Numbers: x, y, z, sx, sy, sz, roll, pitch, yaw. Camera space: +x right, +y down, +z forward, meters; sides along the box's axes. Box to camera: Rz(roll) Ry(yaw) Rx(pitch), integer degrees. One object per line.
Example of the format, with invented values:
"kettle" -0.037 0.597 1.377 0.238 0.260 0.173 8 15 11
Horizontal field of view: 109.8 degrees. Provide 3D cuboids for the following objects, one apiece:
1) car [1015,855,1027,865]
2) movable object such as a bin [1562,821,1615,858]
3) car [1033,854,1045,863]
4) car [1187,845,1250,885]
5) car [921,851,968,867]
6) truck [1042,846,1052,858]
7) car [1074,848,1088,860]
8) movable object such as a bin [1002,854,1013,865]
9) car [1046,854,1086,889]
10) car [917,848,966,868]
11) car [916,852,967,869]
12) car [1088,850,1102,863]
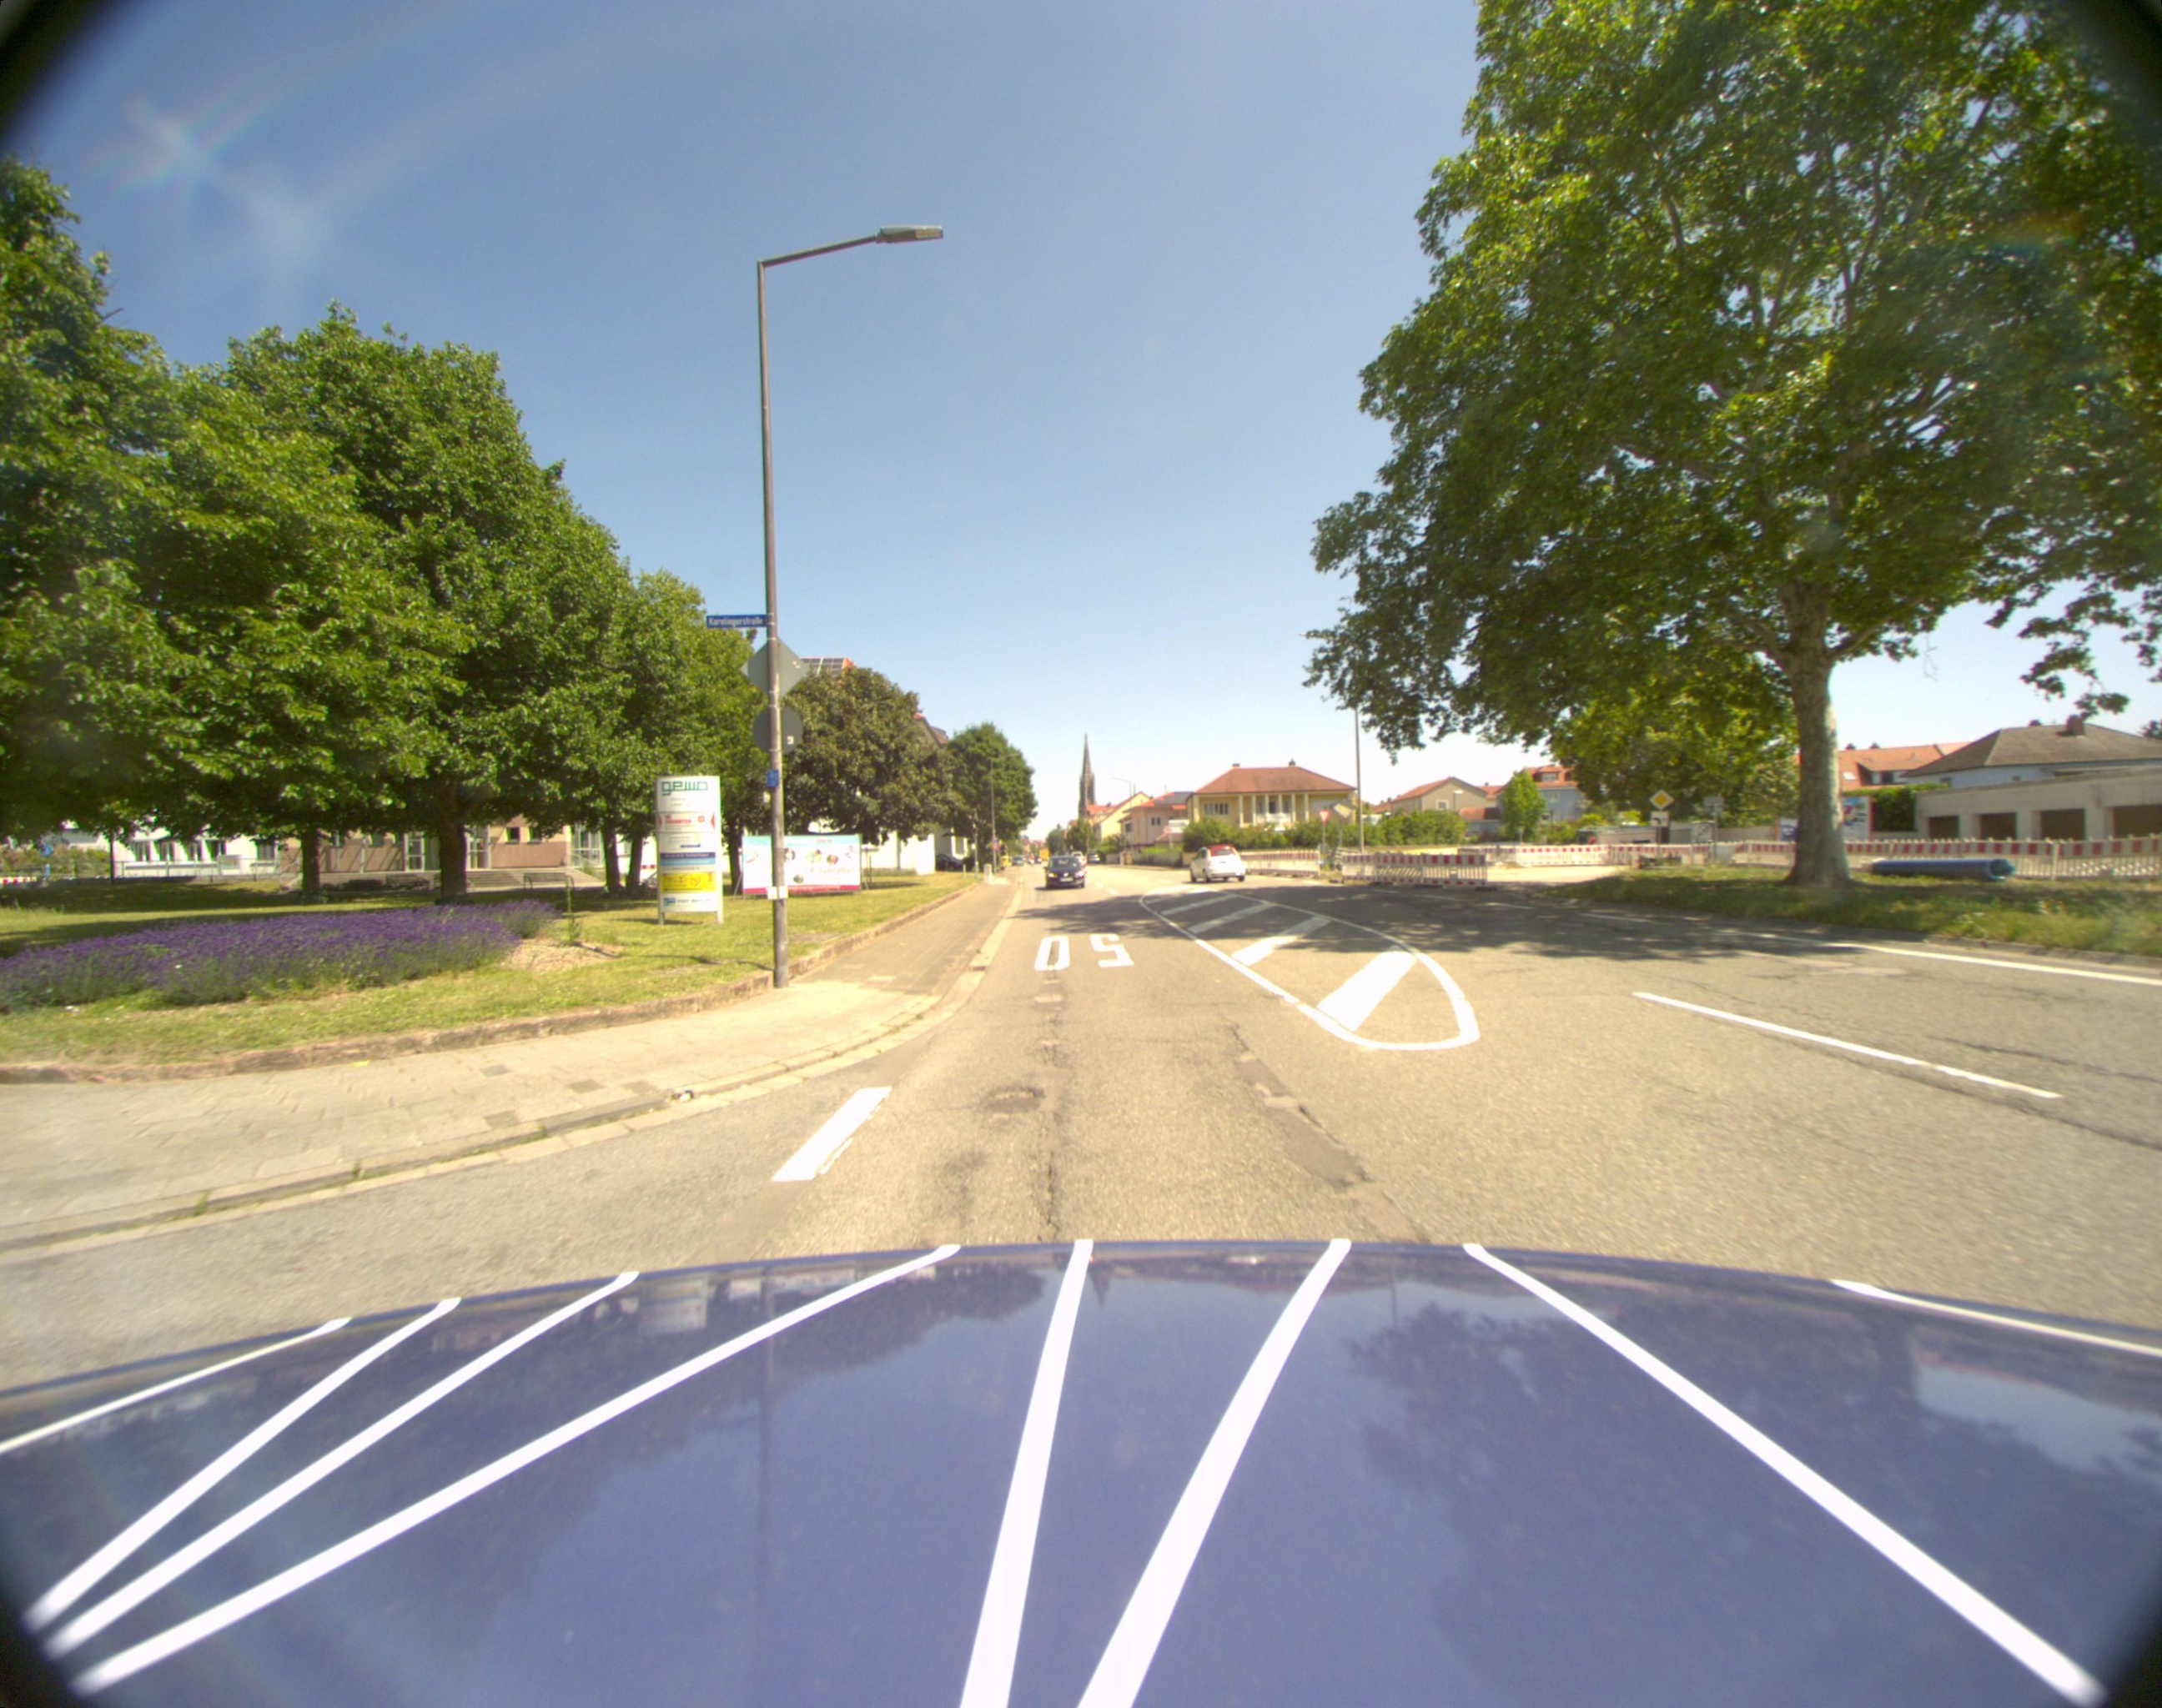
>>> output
"car" -8.809 0.879 111.859 1.608 1.403 3.907 -3 0 -4
"movable object such as a bin" 39.296 -1.117 58.950 2.273 2.719 3.935 -1 1 16
"car" -7.104 0.794 128.360 1.712 1.449 3.561 -1 0 -8
"car" 5.681 0.421 31.761 1.704 1.501 3.457 -3 0 -4
"car" -13.268 0.449 73.997 4.369 1.517 1.999 0 0 -7
"truck" -8.471 -0.573 189.585 2.223 2.921 5.348 -1 0 -5
"car" 0.006 -0.051 115.689 1.719 1.776 3.887 -1 0 -5
"movable object such as a bin" -9.976 0.740 103.242 1.500 1.472 1.422 -1 1 -6
"car" -0.710 0.742 34.207 1.607 1.436 3.908 -3 0 -2
"car" -12.921 0.373 70.783 4.369 1.776 1.999 0 0 -7
"car" -12.432 0.555 68.029 4.369 1.427 1.999 0 0 -7
"car" 1.814 0.280 96.381 1.390 1.568 3.319 -1 0 -5
